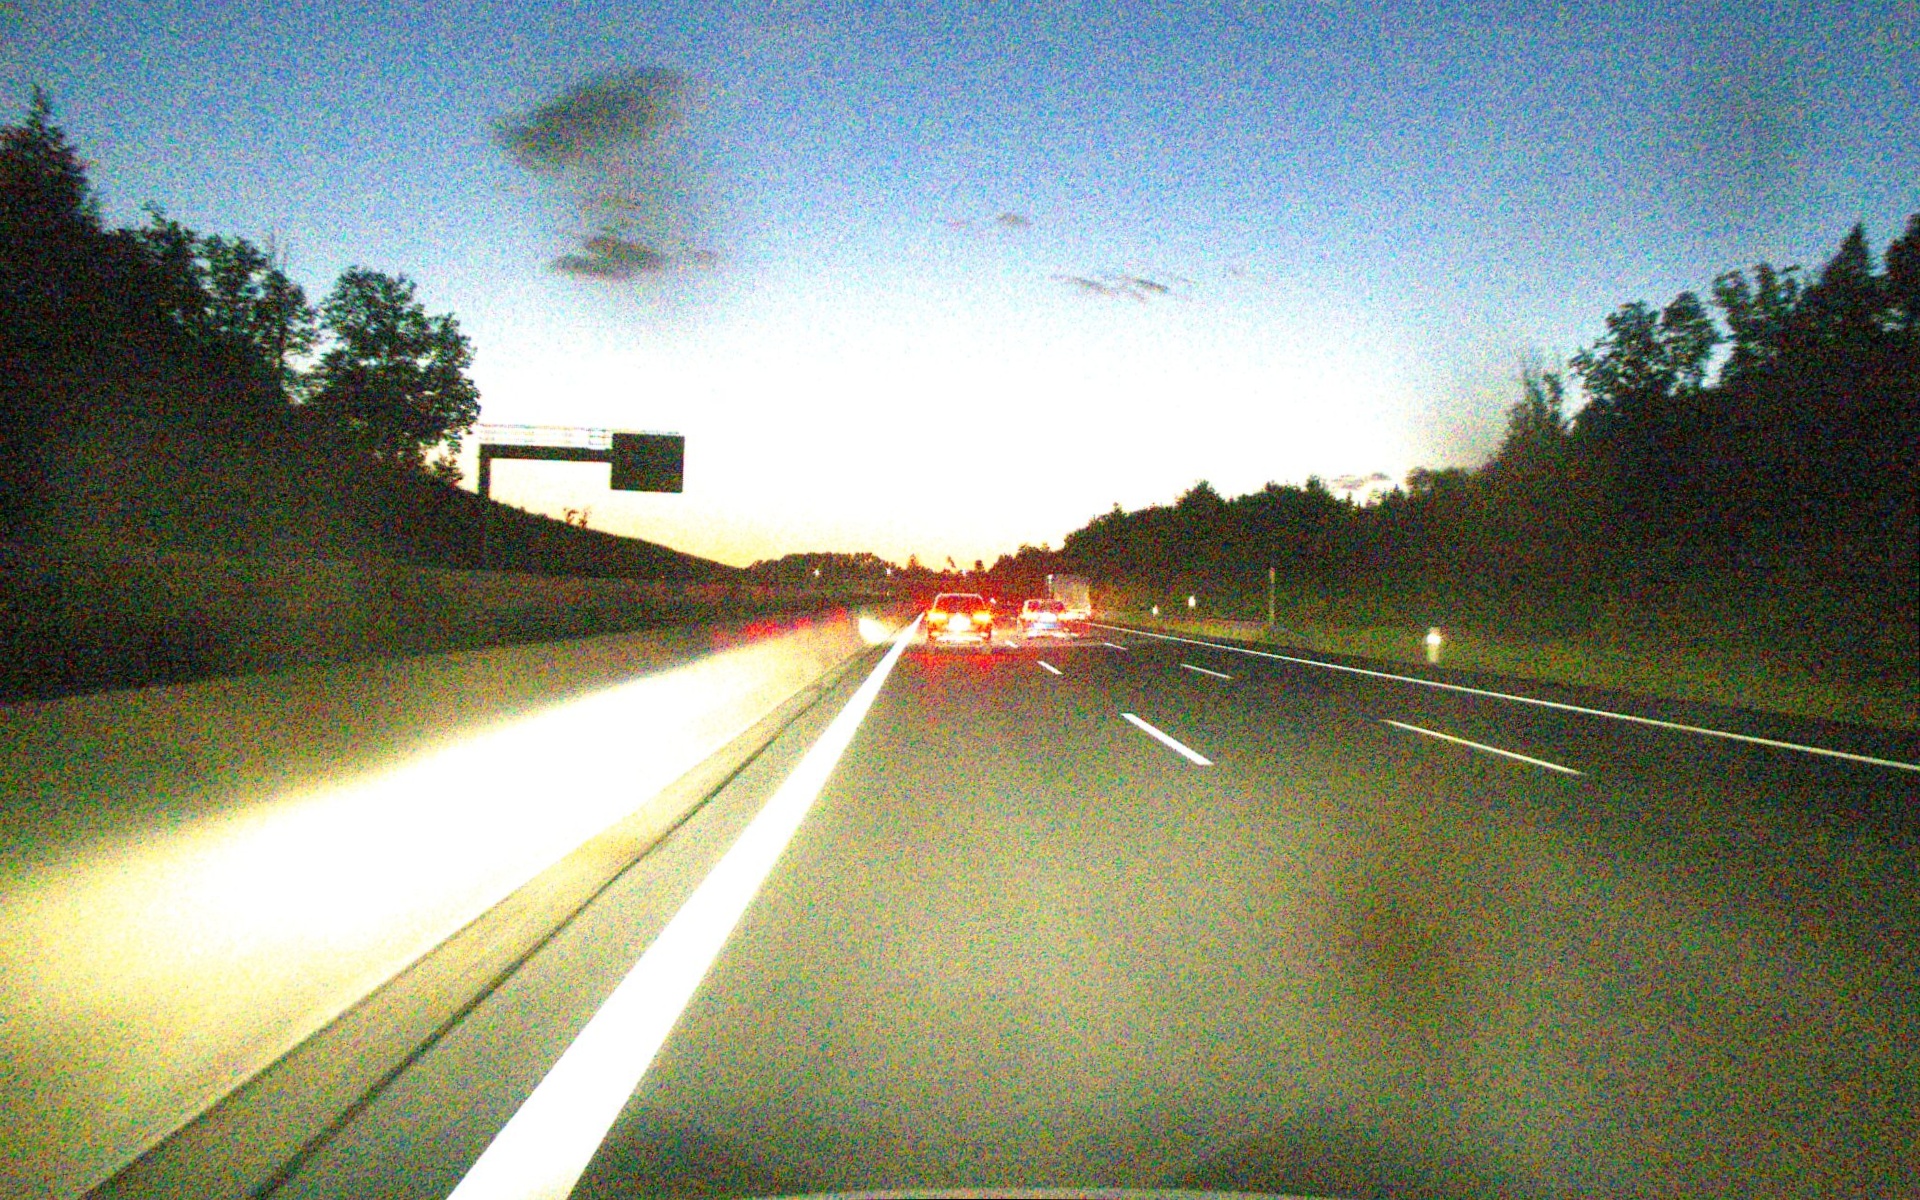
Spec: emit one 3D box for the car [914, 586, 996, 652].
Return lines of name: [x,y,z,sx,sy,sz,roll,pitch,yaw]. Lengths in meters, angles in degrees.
car: [-0.179,0.507,45.464,2.063,1.646,4.202,2,0,-2]

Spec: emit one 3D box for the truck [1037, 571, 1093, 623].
truck: [6.540,-0.195,104.372,2.552,2.924,7.483,7,0,-2]

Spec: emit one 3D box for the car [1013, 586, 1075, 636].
car: [3.061,0.400,60.981,1.873,1.760,3.998,1,0,-3]
